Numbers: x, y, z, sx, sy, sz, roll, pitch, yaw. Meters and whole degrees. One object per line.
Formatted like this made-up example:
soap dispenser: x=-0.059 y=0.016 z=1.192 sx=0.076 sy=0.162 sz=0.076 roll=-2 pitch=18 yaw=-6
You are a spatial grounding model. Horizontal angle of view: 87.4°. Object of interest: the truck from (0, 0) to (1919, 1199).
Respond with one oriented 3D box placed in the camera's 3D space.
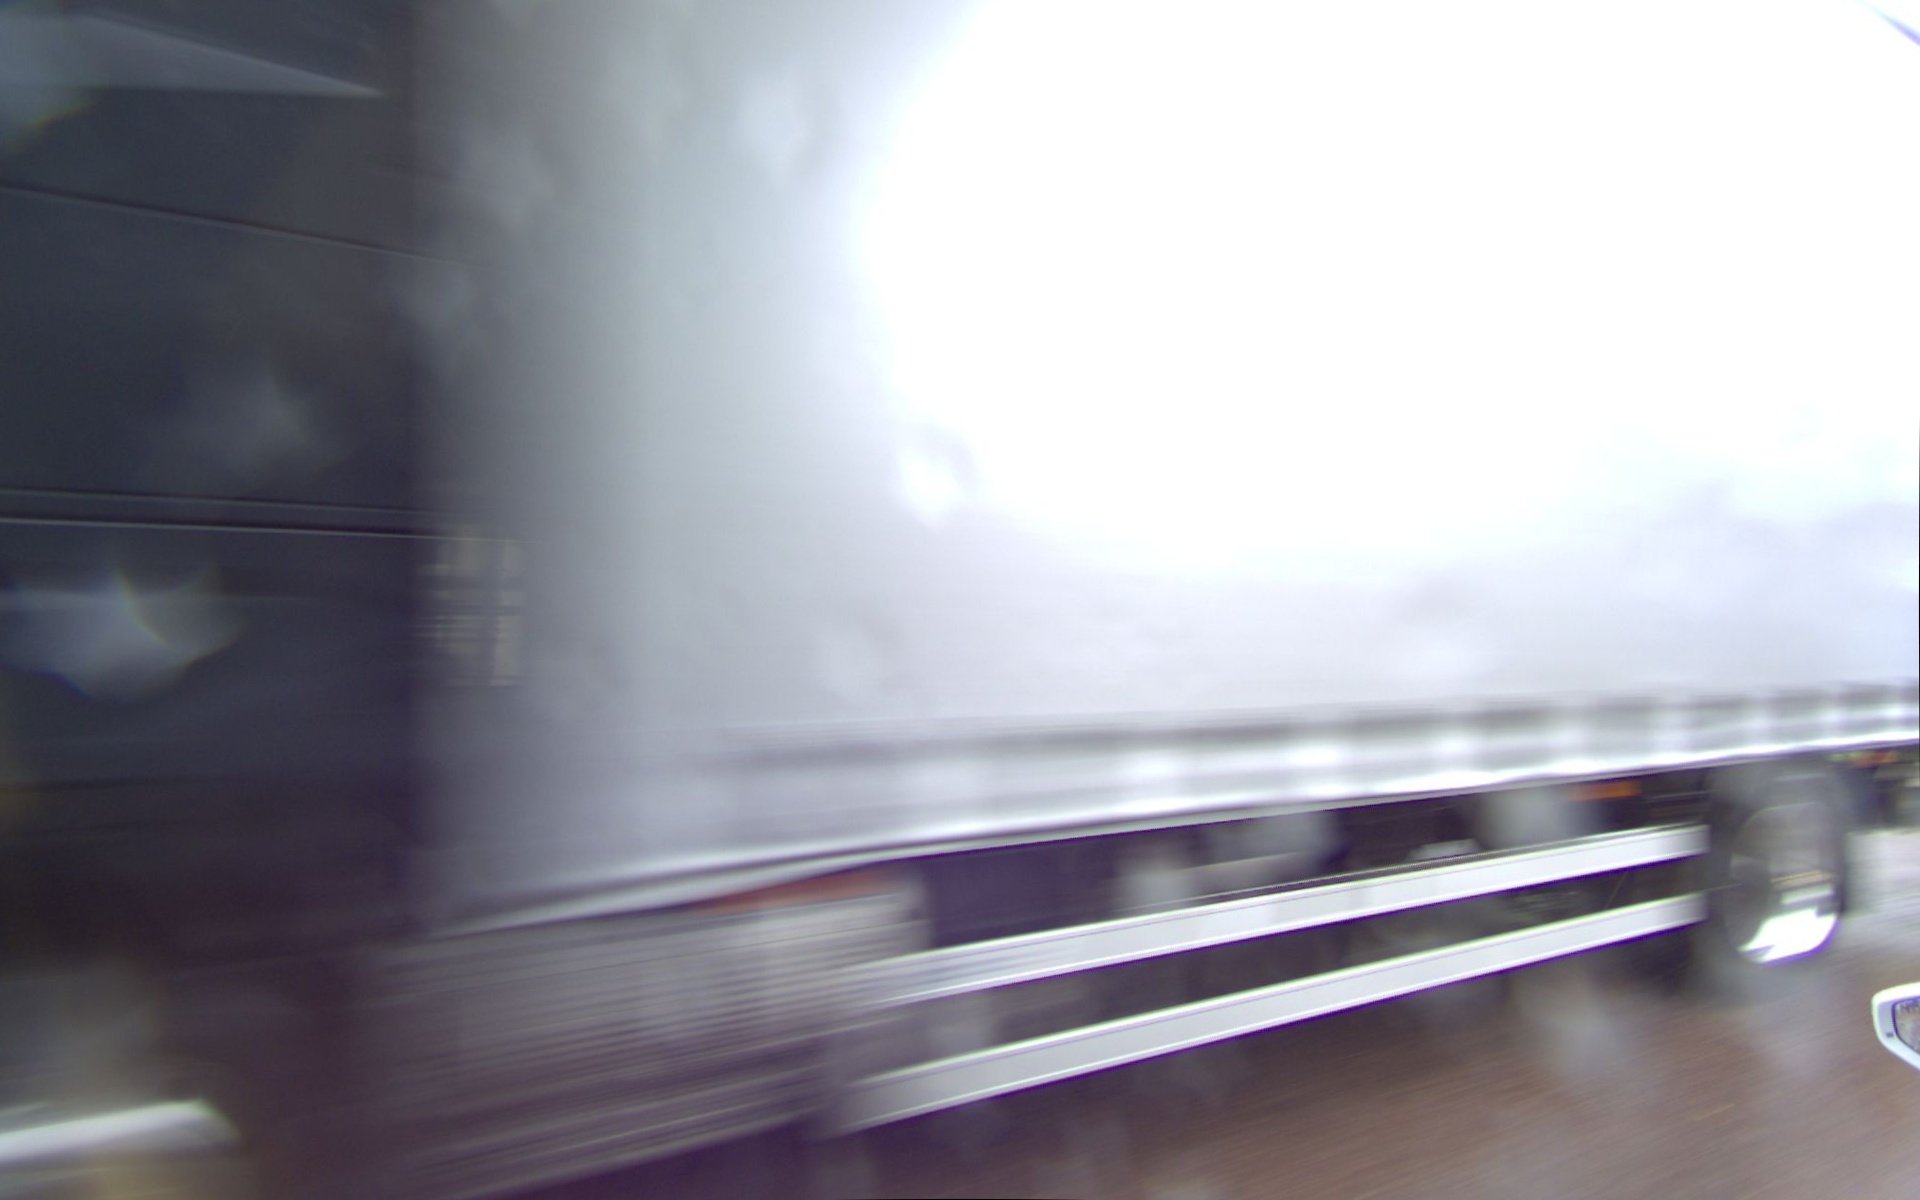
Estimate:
truck: x=1.094 y=-0.560 z=4.194 sx=10.295 sy=4.020 sz=2.838 roll=2 pitch=0 yaw=-27
